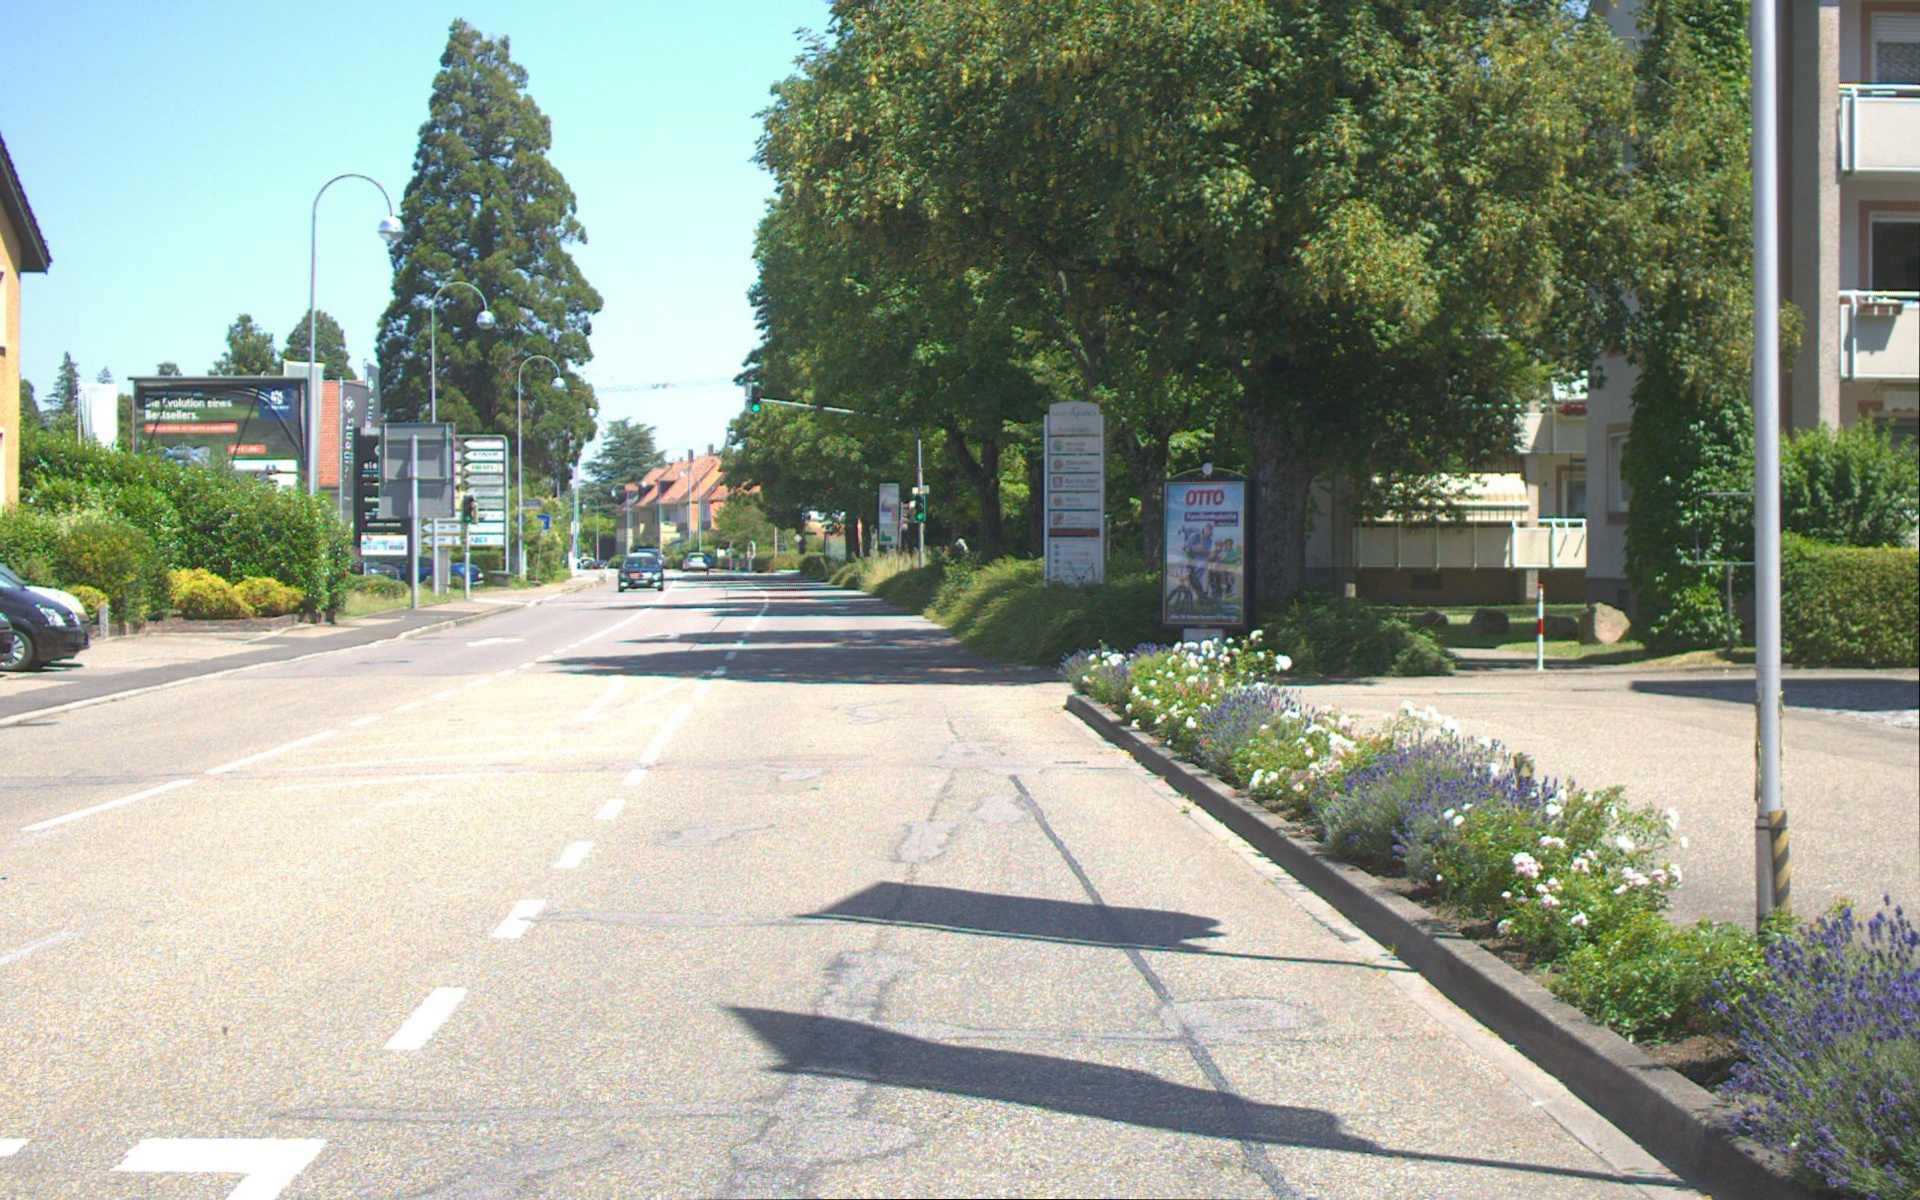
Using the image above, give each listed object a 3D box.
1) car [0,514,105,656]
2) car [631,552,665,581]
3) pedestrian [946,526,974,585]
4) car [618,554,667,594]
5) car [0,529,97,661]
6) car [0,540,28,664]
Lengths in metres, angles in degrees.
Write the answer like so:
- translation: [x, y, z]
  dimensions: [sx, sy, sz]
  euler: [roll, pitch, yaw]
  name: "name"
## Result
- translation: [-13.913, -0.228, 46.952]
  dimensions: [4.093, 1.891, 2.000]
  euler: [1, 0, -6]
  name: "car"
- translation: [-19.157, -2.043, 211.315]
  dimensions: [1.879, 1.712, 4.310]
  euler: [1, 0, -3]
  name: "car"
- translation: [0.004, -1.321, 102.769]
  dimensions: [0.614, 1.745, 0.561]
  euler: [1, 0, 33]
  name: "pedestrian"
- translation: [-12.397, -1.026, 134.286]
  dimensions: [1.710, 1.490, 4.278]
  euler: [1, 1, -3]
  name: "car"
- translation: [-13.291, -0.083, 44.814]
  dimensions: [3.663, 1.667, 1.923]
  euler: [1, 0, -4]
  name: "car"
- translation: [-13.609, -0.005, 42.593]
  dimensions: [3.663, 1.526, 1.923]
  euler: [1, 0, -4]
  name: "car"
